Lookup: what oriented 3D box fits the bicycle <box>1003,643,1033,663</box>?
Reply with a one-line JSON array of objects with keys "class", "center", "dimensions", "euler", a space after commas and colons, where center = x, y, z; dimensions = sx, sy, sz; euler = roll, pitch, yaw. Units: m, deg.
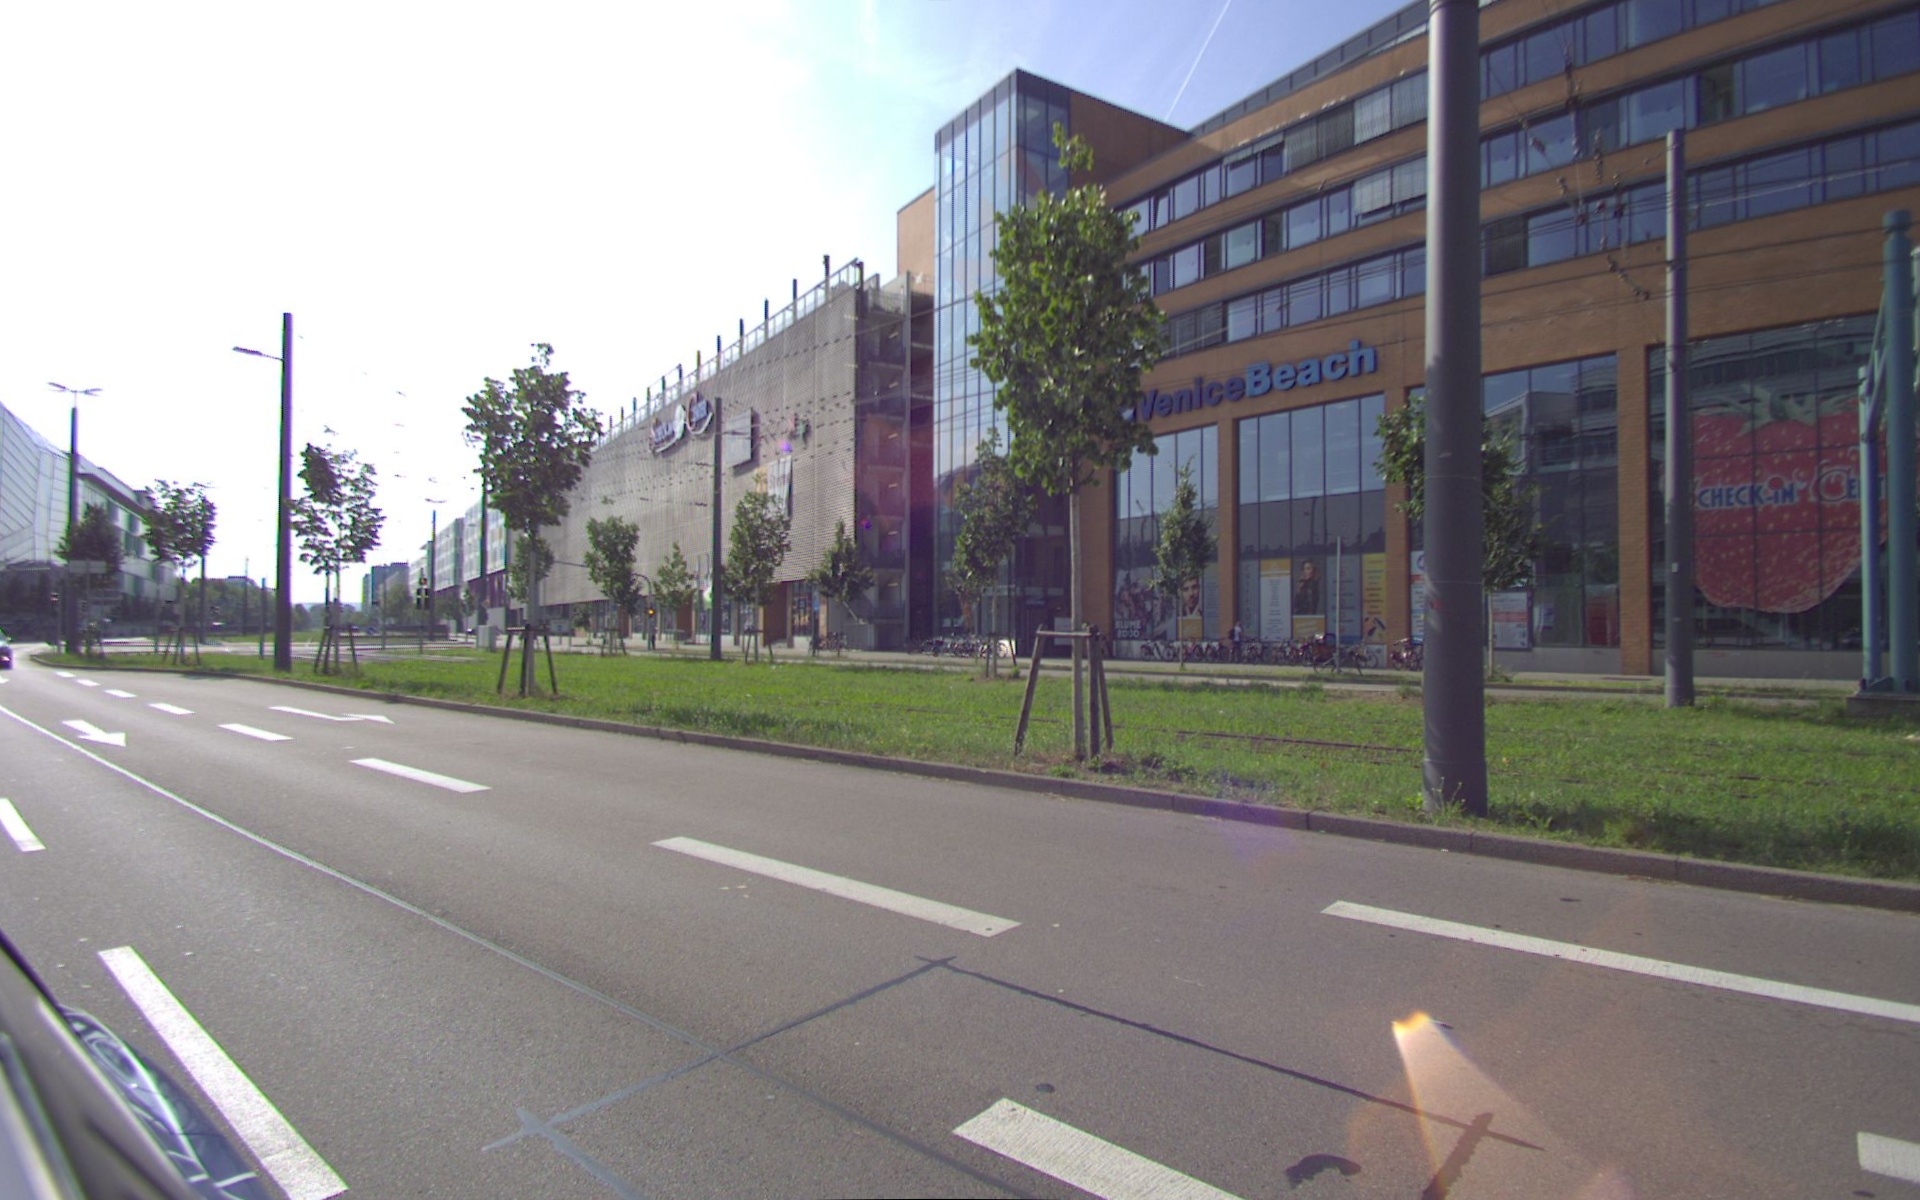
[{"class": "bicycle", "center": [2.876, 2.617, 50.136], "dimensions": [1.558, 0.947, 0.412], "euler": [1, -2, -38]}]

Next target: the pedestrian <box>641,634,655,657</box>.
[{"class": "pedestrian", "center": [-21.455, 3.102, 69.491], "dimensions": [0.751, 1.591, 0.591], "euler": [2, -3, -37]}]

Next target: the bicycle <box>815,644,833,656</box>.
[{"class": "bicycle", "center": [-8.397, 3.091, 62.414], "dimensions": [0.989, 0.758, 0.453], "euler": [1, -2, -32]}]

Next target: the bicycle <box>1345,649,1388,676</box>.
[{"class": "bicycle", "center": [15.173, 2.326, 37.735], "dimensions": [2.022, 0.928, 0.574], "euler": [1, -2, -38]}]

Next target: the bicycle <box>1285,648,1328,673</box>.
[{"class": "bicycle", "center": [13.651, 2.366, 39.823], "dimensions": [2.022, 0.928, 0.574], "euler": [1, -2, -38]}]

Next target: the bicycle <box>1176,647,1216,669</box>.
[{"class": "bicycle", "center": [10.214, 2.490, 43.794], "dimensions": [2.022, 0.928, 0.574], "euler": [1, -2, -38]}]

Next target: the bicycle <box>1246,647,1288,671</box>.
[{"class": "bicycle", "center": [12.497, 2.381, 41.144], "dimensions": [2.022, 0.928, 0.574], "euler": [1, -2, -38]}]

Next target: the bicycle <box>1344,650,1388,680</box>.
[{"class": "bicycle", "center": [13.141, 2.099, 32.745], "dimensions": [1.655, 0.914, 0.710], "euler": [1, -2, -43]}]

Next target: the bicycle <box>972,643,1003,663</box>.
[{"class": "bicycle", "center": [1.376, 2.644, 50.451], "dimensions": [1.557, 0.947, 0.412], "euler": [1, -2, -34]}]

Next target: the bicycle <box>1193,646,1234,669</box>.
[{"class": "bicycle", "center": [10.802, 2.452, 43.148], "dimensions": [2.022, 0.928, 0.574], "euler": [1, -2, -38]}]

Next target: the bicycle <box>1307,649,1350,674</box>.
[{"class": "bicycle", "center": [14.252, 2.371, 39.148], "dimensions": [2.022, 0.928, 0.574], "euler": [1, -2, -38]}]

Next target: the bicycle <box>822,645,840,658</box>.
[{"class": "bicycle", "center": [-7.807, 3.105, 61.283], "dimensions": [1.007, 0.758, 0.362], "euler": [1, -2, -32]}]

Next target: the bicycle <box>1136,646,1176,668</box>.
[{"class": "bicycle", "center": [8.823, 2.543, 45.454], "dimensions": [2.022, 0.928, 0.574], "euler": [1, -2, -38]}]

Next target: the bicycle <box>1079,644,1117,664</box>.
[{"class": "bicycle", "center": [6.598, 2.562, 48.391], "dimensions": [2.022, 0.928, 0.574], "euler": [1, -2, -38]}]

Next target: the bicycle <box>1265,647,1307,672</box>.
[{"class": "bicycle", "center": [13.044, 2.368, 40.478], "dimensions": [2.022, 0.928, 0.574], "euler": [1, -2, -38]}]

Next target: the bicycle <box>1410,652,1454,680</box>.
[{"class": "bicycle", "center": [16.790, 2.344, 35.985], "dimensions": [2.022, 0.928, 0.574], "euler": [1, -2, -38]}]

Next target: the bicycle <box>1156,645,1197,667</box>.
[{"class": "bicycle", "center": [9.542, 2.475, 44.582], "dimensions": [2.022, 0.928, 0.574], "euler": [1, -2, -38]}]

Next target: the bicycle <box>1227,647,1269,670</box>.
[{"class": "bicycle", "center": [11.901, 2.396, 41.771], "dimensions": [2.022, 0.928, 0.574], "euler": [1, -2, -38]}]

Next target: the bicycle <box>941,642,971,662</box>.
[{"class": "bicycle", "center": [-0.212, 2.606, 50.957], "dimensions": [1.557, 0.947, 0.412], "euler": [1, -2, -35]}]

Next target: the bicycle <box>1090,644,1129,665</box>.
[{"class": "bicycle", "center": [7.076, 2.563, 47.828], "dimensions": [2.022, 0.928, 0.574], "euler": [1, -2, -38]}]

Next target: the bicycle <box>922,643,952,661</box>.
[{"class": "bicycle", "center": [-1.184, 2.715, 52.943], "dimensions": [1.557, 0.947, 0.474], "euler": [1, -2, -34]}]

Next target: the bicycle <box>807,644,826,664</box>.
[{"class": "bicycle", "center": [-7.697, 2.886, 54.262], "dimensions": [0.438, 0.995, 2.171], "euler": [2, -1, -24]}]

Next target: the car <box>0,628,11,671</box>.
[{"class": "car", "center": [-33.955, 1.665, 34.719], "dimensions": [3.893, 1.430, 1.622], "euler": [-1, -2, 41]}]

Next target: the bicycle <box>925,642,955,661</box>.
[{"class": "bicycle", "center": [-1.023, 2.640, 51.550], "dimensions": [1.557, 0.947, 0.412], "euler": [1, -2, -34]}]

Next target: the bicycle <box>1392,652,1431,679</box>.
[{"class": "bicycle", "center": [16.302, 2.343, 36.540], "dimensions": [2.022, 0.928, 0.381], "euler": [1, -3, -39]}]

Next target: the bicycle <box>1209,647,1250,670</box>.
[{"class": "bicycle", "center": [11.329, 2.446, 42.490], "dimensions": [2.022, 0.928, 0.574], "euler": [1, -2, -38]}]
